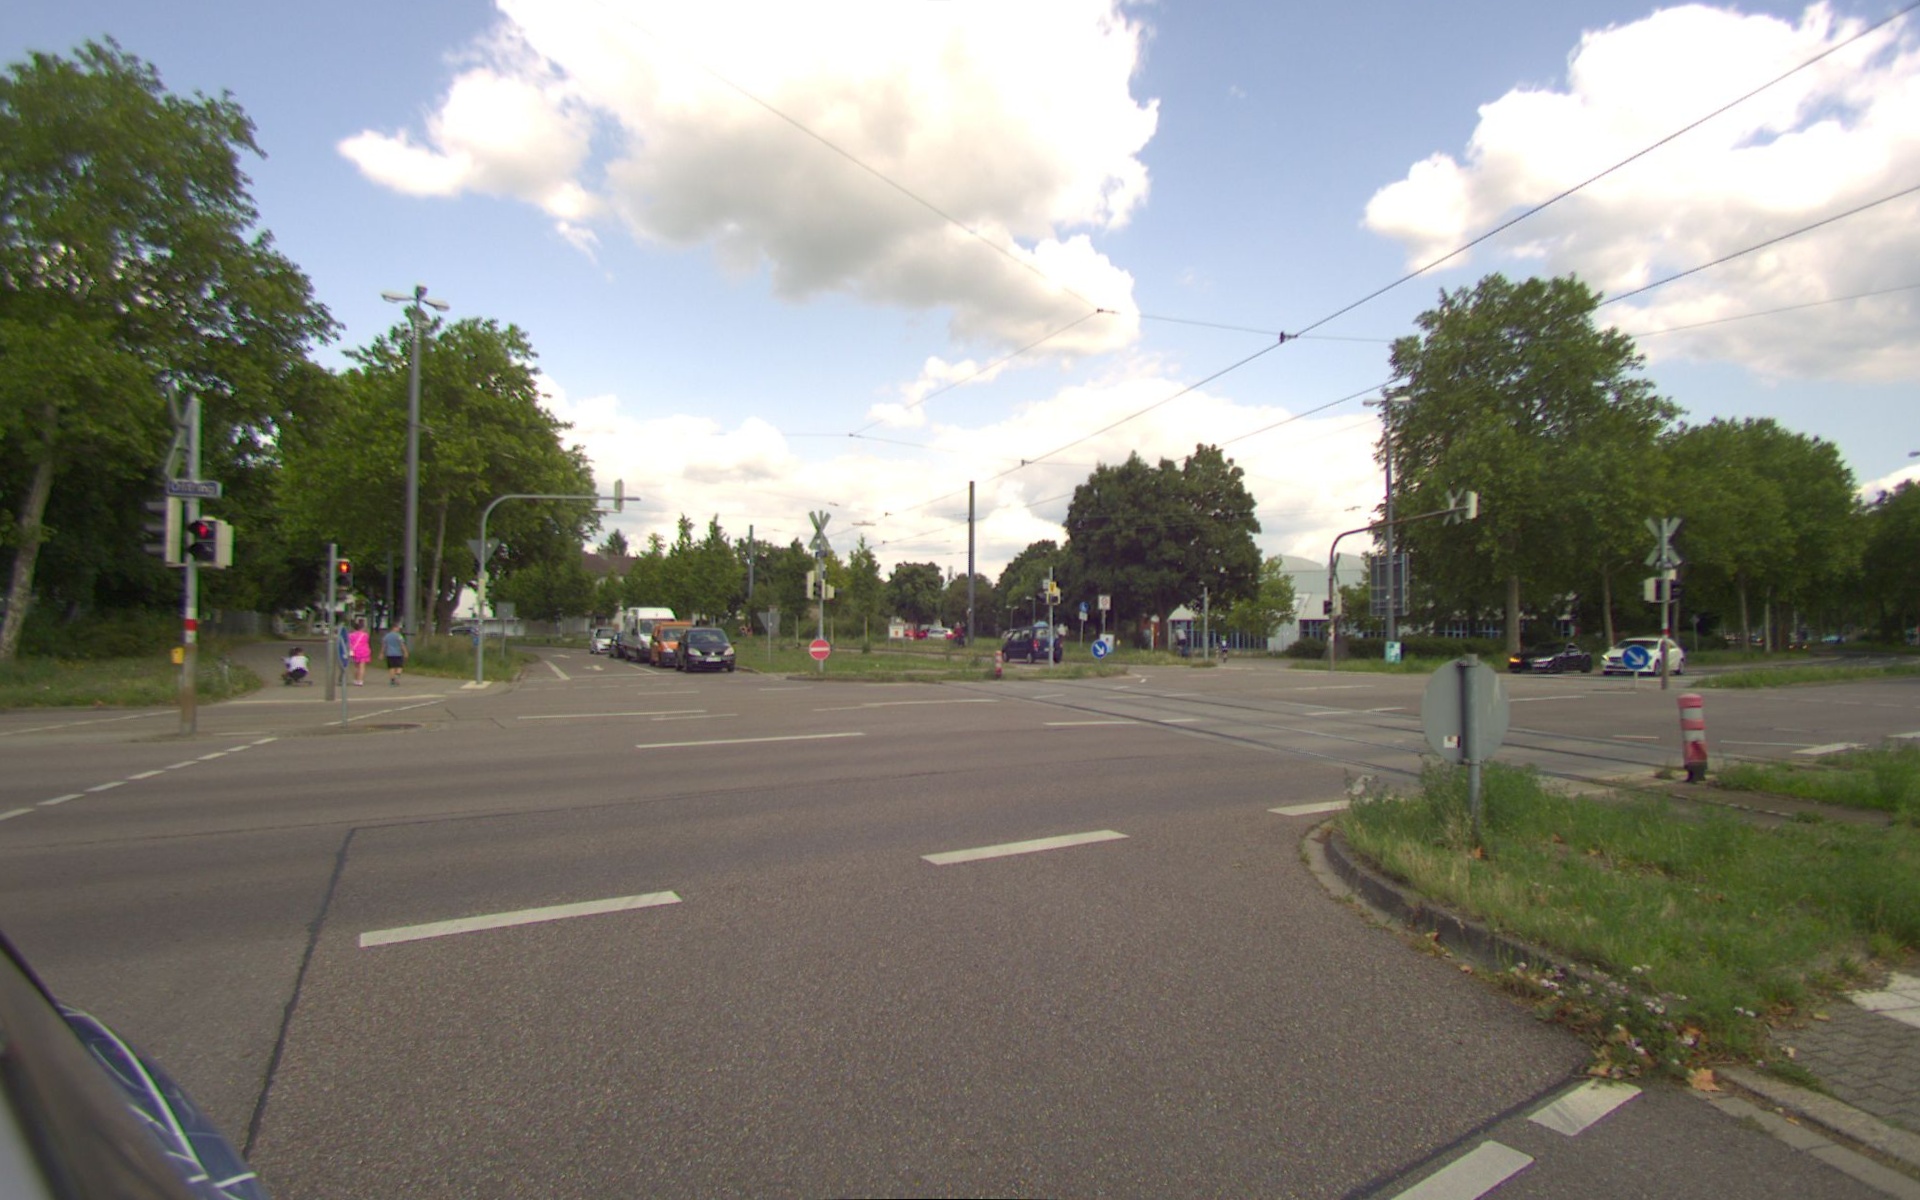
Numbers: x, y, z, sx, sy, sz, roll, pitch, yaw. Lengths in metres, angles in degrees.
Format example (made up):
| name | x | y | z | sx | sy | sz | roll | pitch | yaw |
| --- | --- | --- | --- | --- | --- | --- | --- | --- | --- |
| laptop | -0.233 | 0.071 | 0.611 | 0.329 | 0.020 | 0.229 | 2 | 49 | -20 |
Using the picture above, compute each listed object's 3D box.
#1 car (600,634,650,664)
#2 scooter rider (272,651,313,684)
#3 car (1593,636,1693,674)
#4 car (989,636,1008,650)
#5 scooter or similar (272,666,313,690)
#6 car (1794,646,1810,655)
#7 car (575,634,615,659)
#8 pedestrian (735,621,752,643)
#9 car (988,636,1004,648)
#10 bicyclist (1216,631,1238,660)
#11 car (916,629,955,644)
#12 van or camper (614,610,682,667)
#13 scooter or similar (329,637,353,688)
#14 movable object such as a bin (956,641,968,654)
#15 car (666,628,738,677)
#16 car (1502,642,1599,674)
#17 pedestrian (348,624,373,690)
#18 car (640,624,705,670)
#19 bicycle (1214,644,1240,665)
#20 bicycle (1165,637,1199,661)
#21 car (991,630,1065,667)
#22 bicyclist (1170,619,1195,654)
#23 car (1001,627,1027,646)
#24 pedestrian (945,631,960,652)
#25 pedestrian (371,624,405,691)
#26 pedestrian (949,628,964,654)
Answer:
| name | x | y | z | sx | sy | sz | roll | pitch | yaw |
| --- | --- | --- | --- | --- | --- | --- | --- | --- | --- |
| car | -17.868 | 2.594 | 53.851 | 1.780 | 1.442 | 4.483 | 1 | -1 | -28 |
| scooter rider | -15.987 | 1.614 | 24.242 | 0.602 | 0.734 | 0.862 | -1 | -1 | -18 |
| car | 26.026 | 2.055 | 38.553 | 4.069 | 1.375 | 1.835 | 1 | -2 | -35 |
| car | 4.653 | 5.204 | 123.959 | 1.971 | 1.652 | 4.392 | 0 | -2 | -2 |
| scooter or similar | -15.982 | 1.863 | 24.233 | 0.601 | 0.515 | 0.860 | -1 | -1 | -18 |
| car | 118.489 | 7.090 | 142.465 | 1.639 | 1.201 | 3.657 | -2 | -3 | 41 |
| car | -22.017 | 2.766 | 60.978 | 1.780 | 1.442 | 4.397 | 1 | -2 | -26 |
| pedestrian | -20.199 | 2.995 | 94.513 | 1.089 | 2.029 | 1.179 | 2 | -3 | -40 |
| car | 5.186 | 5.956 | 144.730 | 1.971 | 1.652 | 4.392 | 0 | -2 | -2 |
| bicyclist | 13.776 | 2.330 | 52.216 | 0.958 | 1.500 | 0.829 | -1 | -2 | 26 |
| car | -2.529 | 3.744 | 103.354 | 3.942 | 1.542 | 2.000 | 0 | -2 | -1 |
| van or camper | -14.943 | 1.831 | 48.235 | 1.948 | 2.544 | 6.056 | 2 | -3 | -28 |
| scooter or similar | -15.474 | 1.552 | 25.310 | 0.316 | 1.241 | 0.778 | -1 | -1 | -17 |
| movable object such as a bin | 0.134 | 3.027 | 64.440 | 0.570 | 0.817 | 0.460 | -1 | -1 | -41 |
| car | -9.318 | 1.855 | 36.324 | 1.705 | 1.643 | 4.065 | 1 | -2 | -26 |
| car | 23.810 | 2.307 | 40.820 | 3.644 | 1.201 | 1.645 | 1 | -2 | -26 |
| pedestrian | -15.050 | 1.410 | 25.397 | 0.414 | 1.631 | 0.598 | 0 | -2 | -19 |
| car | -11.990 | 1.921 | 42.083 | 1.851 | 1.813 | 4.384 | 1 | -2 | -26 |
| bicycle | 13.800 | 2.801 | 52.258 | 0.946 | 1.048 | 1.967 | -1 | -2 | 25 |
| bicycle | 10.956 | 2.391 | 50.013 | 0.936 | 1.163 | 1.988 | 0 | -2 | -11 |
| car | 3.050 | 2.176 | 46.287 | 1.697 | 1.629 | 4.013 | 1 | -2 | -24 |
| bicyclist | 10.967 | 1.796 | 49.975 | 0.947 | 1.735 | 0.838 | 0 | -2 | -11 |
| car | 4.889 | 3.311 | 92.235 | 1.971 | 1.652 | 4.392 | 0 | -2 | -2 |
| pedestrian | -0.482 | 2.736 | 67.315 | 0.640 | 1.364 | 0.754 | -1 | -1 | -35 |
| pedestrian | -14.339 | 1.431 | 25.382 | 0.622 | 1.631 | 0.612 | 0 | -2 | -19 |
| pedestrian | -0.219 | 2.639 | 64.844 | 0.603 | 1.657 | 0.639 | -1 | -1 | -41 |
